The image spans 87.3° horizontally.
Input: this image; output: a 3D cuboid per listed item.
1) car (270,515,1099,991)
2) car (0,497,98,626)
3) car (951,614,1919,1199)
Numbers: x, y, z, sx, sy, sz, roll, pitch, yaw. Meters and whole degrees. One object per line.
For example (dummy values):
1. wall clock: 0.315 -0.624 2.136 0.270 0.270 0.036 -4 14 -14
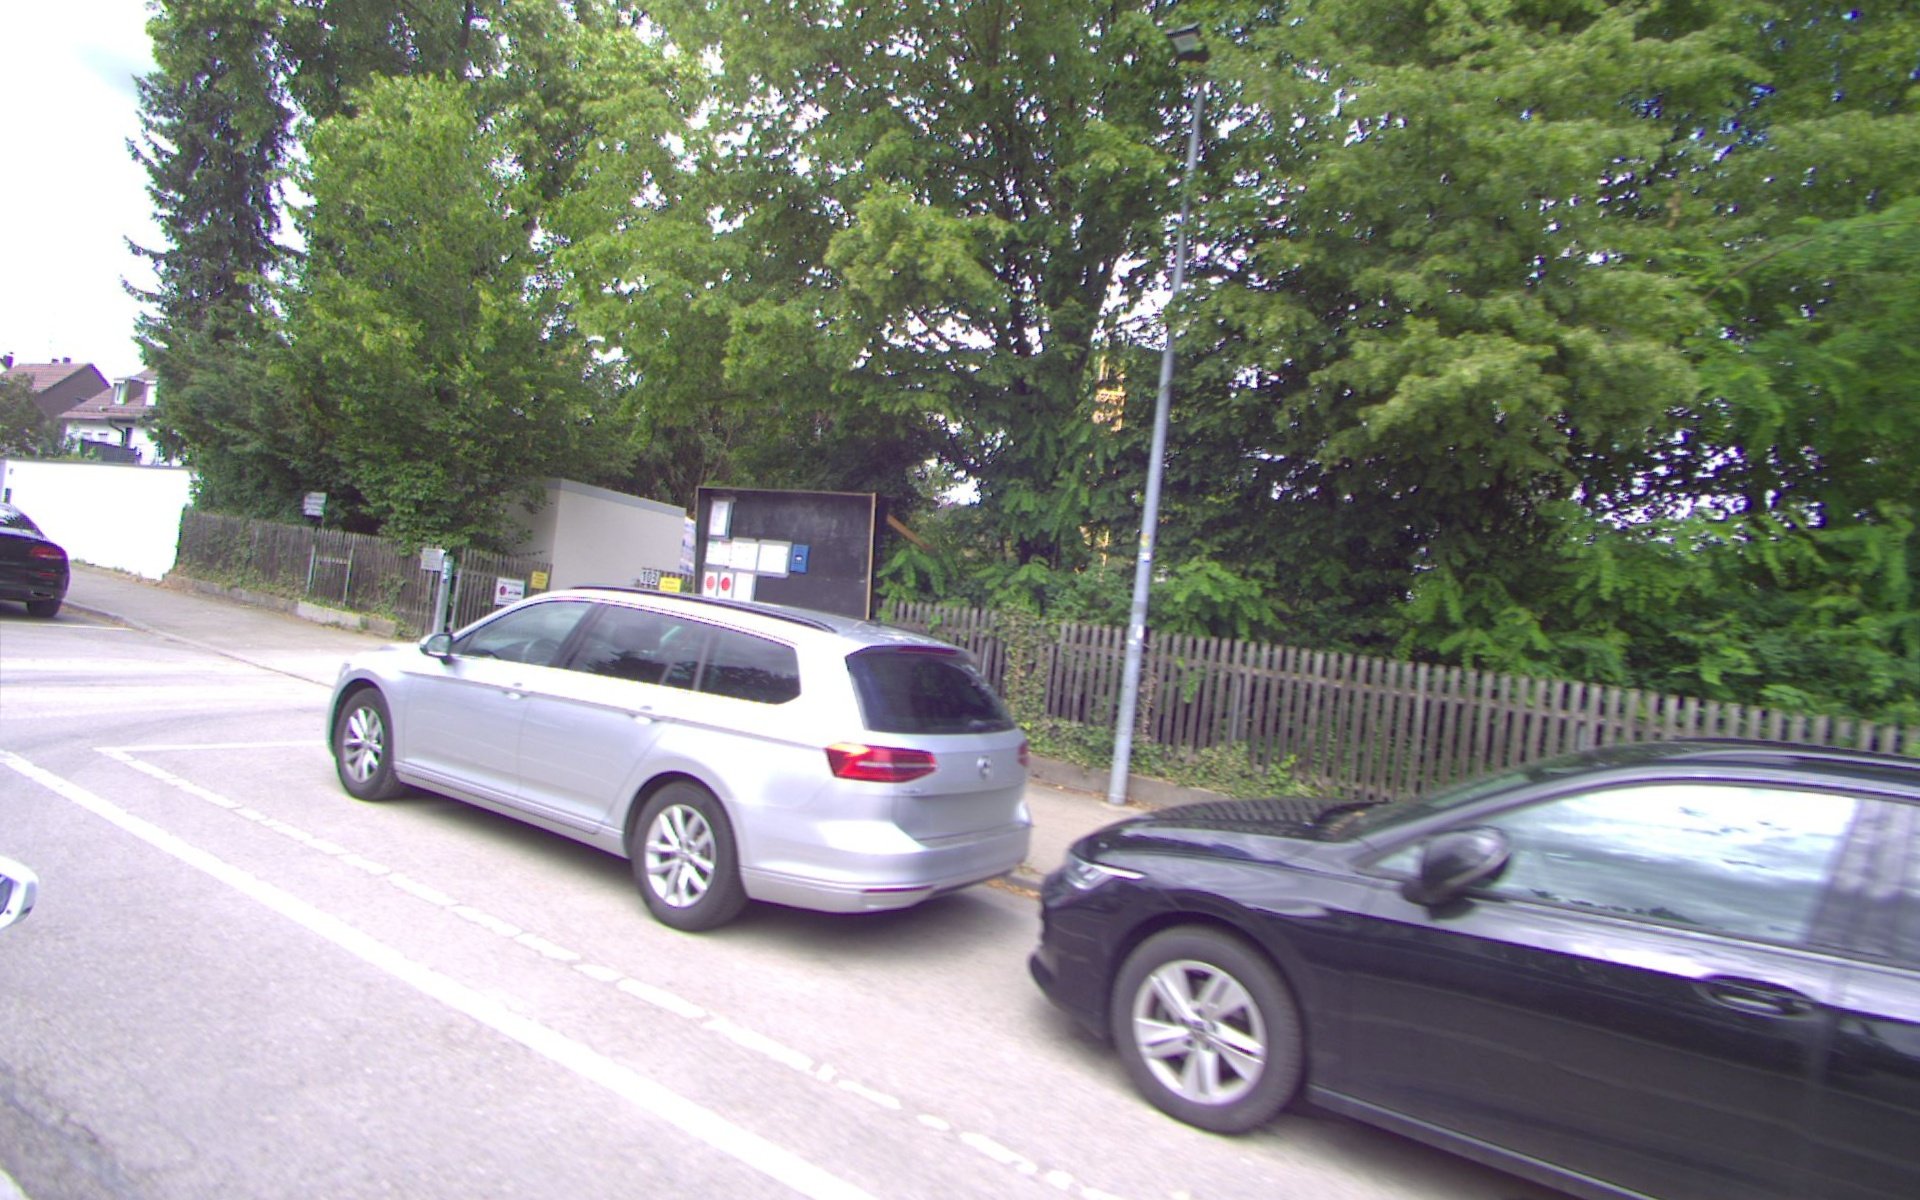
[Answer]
1. car: -1.766 0.585 5.873 4.609 1.629 1.866 6 -2 31
2. car: -13.148 -0.698 12.903 4.527 1.433 1.866 7 -1 33
3. car: 2.379 1.133 3.224 4.462 1.527 1.705 7 -2 32
